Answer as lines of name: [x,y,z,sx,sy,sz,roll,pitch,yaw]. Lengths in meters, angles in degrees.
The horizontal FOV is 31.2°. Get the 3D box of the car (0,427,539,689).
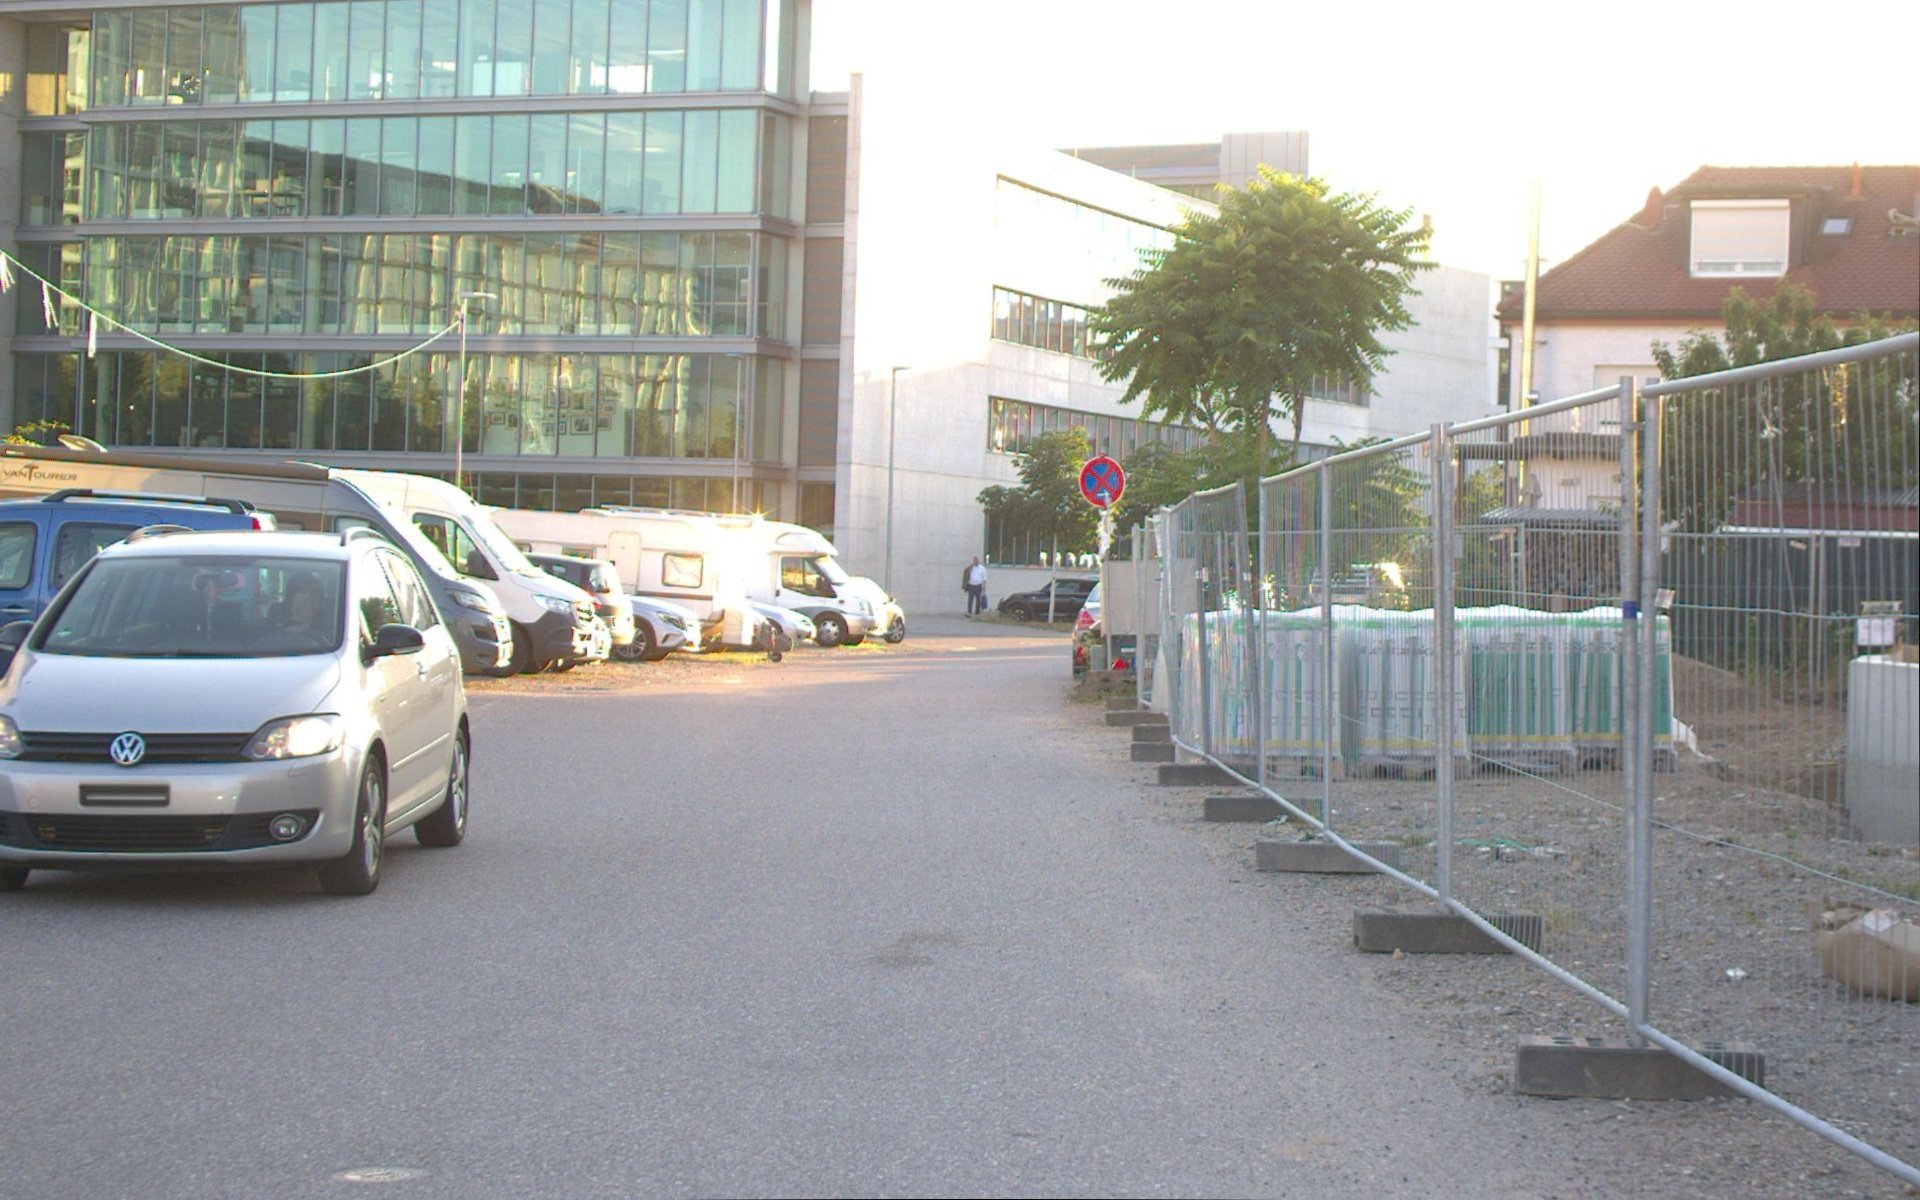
car: [-8.475,-0.492,41.604,6.387,2.704,2.113,4,-1,-2]

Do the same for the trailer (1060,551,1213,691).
trailer: [2.418,0.252,46.103,1.731,1.771,4.936,0,0,7]

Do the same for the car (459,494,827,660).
car: [-5.570,-0.386,60.827,5.891,2.525,2.410,4,-1,12]

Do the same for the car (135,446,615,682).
car: [-7.711,-0.487,45.671,5.826,2.703,2.050,4,1,3]

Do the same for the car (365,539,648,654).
car: [-7.006,-0.061,53.231,3.928,1.585,1.747,2,1,14]

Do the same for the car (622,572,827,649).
car: [-4.734,0.202,69.388,3.809,1.324,1.692,3,1,9]

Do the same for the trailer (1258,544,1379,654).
trailer: [7.614,-0.050,72.582,2.065,2.204,5.220,1,1,11]

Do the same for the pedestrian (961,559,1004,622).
pedestrian: [0.657,-0.277,100.730,0.899,1.844,0.856,0,1,-37]

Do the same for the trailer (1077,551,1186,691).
trailer: [2.087,0.246,42.334,1.250,1.659,2.803,0,0,1]

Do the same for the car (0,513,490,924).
car: [-3.337,0.459,16.032,1.670,1.614,4.285,2,0,0]

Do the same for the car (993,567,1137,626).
car: [2.996,-0.116,97.871,3.737,1.477,1.768,3,2,16]

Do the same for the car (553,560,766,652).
car: [-5.606,0.103,64.393,3.629,1.514,1.705,3,1,7]

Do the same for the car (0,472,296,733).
car: [-7.428,-0.049,27.585,3.924,1.905,1.749,4,1,-8]

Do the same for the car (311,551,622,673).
car: [-6.860,0.164,48.005,3.926,1.502,1.789,2,0,6]

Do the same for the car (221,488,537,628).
car: [-12.520,-0.908,74.136,6.247,2.664,2.221,3,1,16]

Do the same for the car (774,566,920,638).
car: [-2.533,0.064,78.104,1.688,1.514,4.356,3,0,21]

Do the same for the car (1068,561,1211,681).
car: [2.757,0.288,51.848,1.806,1.719,4.927,0,0,7]

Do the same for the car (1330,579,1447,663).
car: [11.070,0.507,88.597,2.067,2.088,4.868,1,1,18]

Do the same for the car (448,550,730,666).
car: [-6.026,0.121,55.939,4.129,1.585,1.747,4,1,14]

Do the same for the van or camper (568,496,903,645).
van or camper: [-4.852,-0.645,74.669,6.743,2.888,2.407,3,0,11]
